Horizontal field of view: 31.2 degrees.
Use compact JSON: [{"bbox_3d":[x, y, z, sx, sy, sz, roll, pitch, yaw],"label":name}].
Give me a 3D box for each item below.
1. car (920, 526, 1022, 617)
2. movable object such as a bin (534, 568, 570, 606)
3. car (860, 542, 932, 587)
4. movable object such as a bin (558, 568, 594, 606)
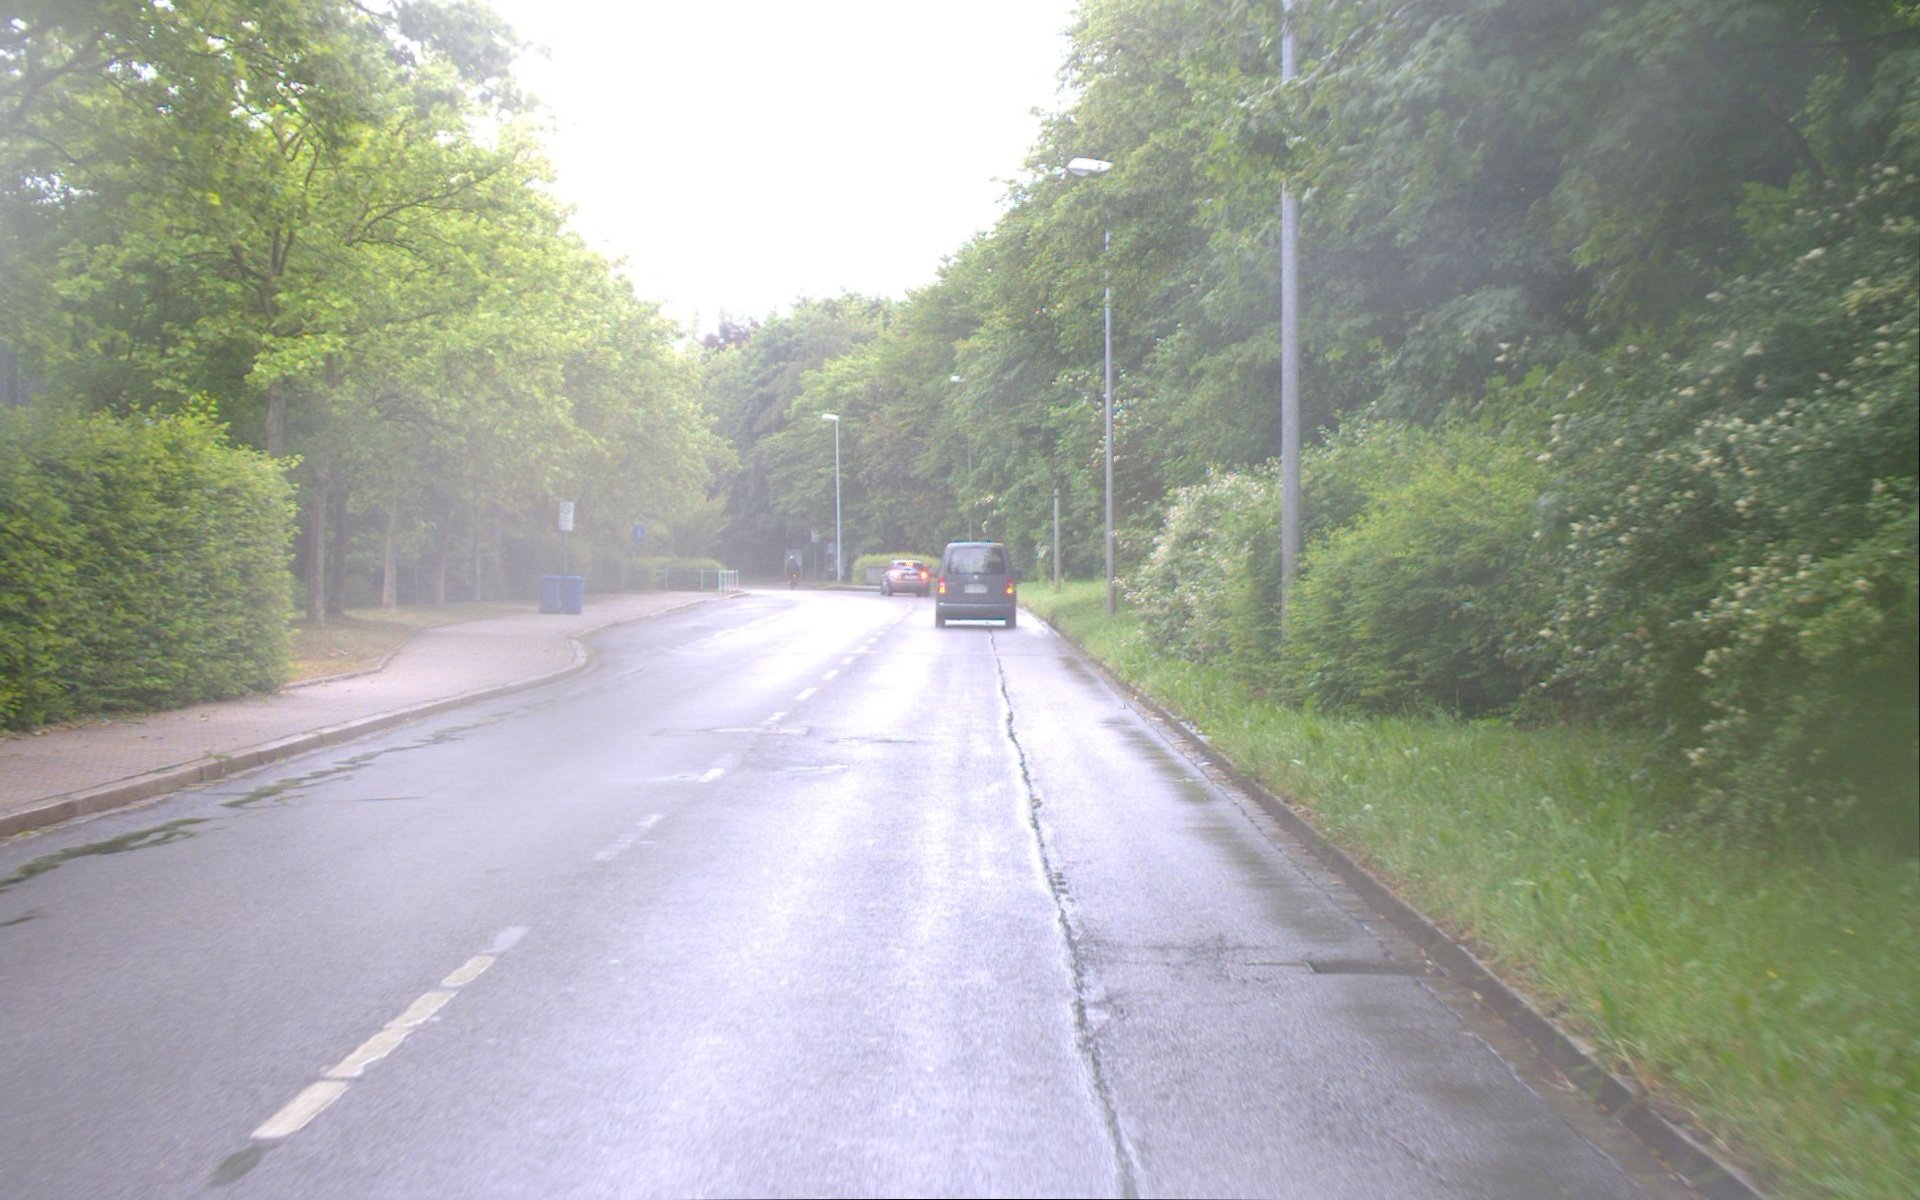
[{"bbox_3d":[0.211,-0.640,74.874,1.993,1.787,4.001,3,2,-2],"label":"car"},{"bbox_3d":[-11.344,-0.366,95.667,0.666,1.023,0.835,-3,1,-31],"label":"movable object such as a bin"},{"bbox_3d":[-2.630,-1.465,139.722,1.993,1.766,4.001,-1,1,-15],"label":"car"},{"bbox_3d":[-10.732,-0.368,96.025,0.666,1.023,0.835,-3,1,-31],"label":"movable object such as a bin"}]
